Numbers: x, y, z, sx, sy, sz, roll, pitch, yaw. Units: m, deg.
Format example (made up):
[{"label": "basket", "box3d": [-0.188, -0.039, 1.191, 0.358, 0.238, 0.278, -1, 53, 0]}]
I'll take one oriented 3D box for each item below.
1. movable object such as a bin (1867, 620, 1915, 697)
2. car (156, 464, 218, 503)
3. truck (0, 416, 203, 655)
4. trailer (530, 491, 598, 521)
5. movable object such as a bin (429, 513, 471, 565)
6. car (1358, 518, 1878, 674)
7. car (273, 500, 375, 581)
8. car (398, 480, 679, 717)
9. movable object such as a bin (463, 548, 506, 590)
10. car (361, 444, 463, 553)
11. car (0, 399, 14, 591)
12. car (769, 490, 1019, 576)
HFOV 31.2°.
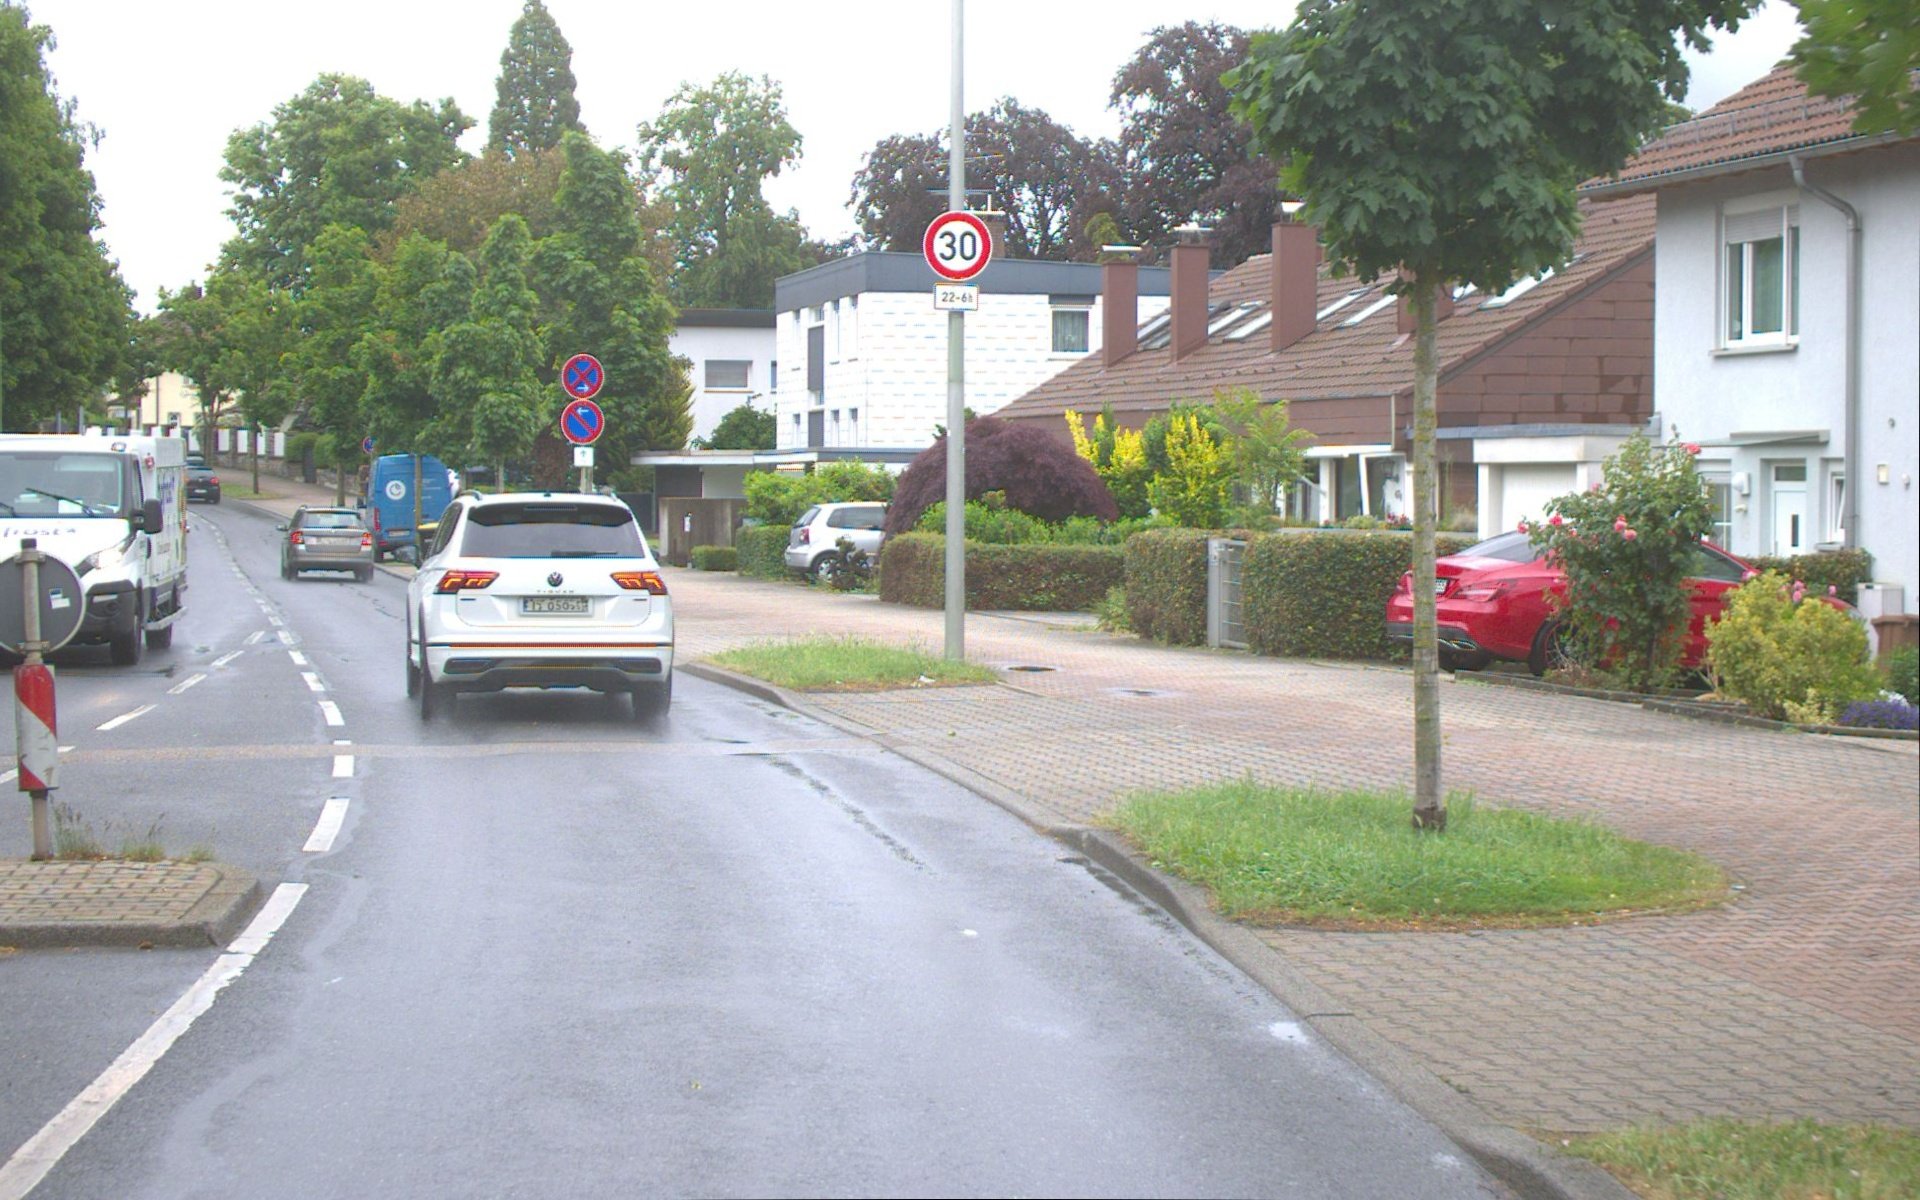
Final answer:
[{"label": "movable object such as a bin", "box3d": [7.741, 0.485, 28.584, 0.255, 0.624, 0.325, 0, 2, -12]}, {"label": "car", "box3d": [-31.400, -4.745, 139.579, 1.642, 1.422, 4.002, 1, 3, -25]}, {"label": "truck", "box3d": [-9.128, -0.697, 34.984, 2.216, 2.196, 6.466, 1, 2, -8]}, {"label": "trailer", "box3d": [-12.616, -3.009, 109.442, 2.041, 0.880, 1.365, 1, 2, -10]}, {"label": "movable object such as a bin", "box3d": [-10.370, -1.237, 69.874, 0.614, 1.011, 0.562, -4, 1, 13]}, {"label": "car", "box3d": [5.866, -0.035, 30.624, 4.302, 1.256, 1.680, 1, 2, -23]}, {"label": "car", "box3d": [-12.583, -1.195, 67.918, 1.768, 1.546, 4.001, 0, 2, -14]}, {"label": "car", "box3d": [-3.281, -0.067, 26.160, 1.864, 1.645, 4.001, -1, 2, -11]}, {"label": "movable object such as a bin", "box3d": [-9.598, -0.634, 69.392, 0.659, 0.797, 0.600, -3, 2, 12]}, {"label": "car", "box3d": [-13.707, -2.575, 85.767, 1.993, 2.577, 5.636, -2, 3, -13]}, {"label": "car", "box3d": [-14.567, -1.499, 48.530, 1.993, 2.719, 5.940, 1, 2, -13]}, {"label": "car", "box3d": [-1.153, -1.167, 59.182, 3.986, 1.437, 1.848, 0, 2, -14]}]
